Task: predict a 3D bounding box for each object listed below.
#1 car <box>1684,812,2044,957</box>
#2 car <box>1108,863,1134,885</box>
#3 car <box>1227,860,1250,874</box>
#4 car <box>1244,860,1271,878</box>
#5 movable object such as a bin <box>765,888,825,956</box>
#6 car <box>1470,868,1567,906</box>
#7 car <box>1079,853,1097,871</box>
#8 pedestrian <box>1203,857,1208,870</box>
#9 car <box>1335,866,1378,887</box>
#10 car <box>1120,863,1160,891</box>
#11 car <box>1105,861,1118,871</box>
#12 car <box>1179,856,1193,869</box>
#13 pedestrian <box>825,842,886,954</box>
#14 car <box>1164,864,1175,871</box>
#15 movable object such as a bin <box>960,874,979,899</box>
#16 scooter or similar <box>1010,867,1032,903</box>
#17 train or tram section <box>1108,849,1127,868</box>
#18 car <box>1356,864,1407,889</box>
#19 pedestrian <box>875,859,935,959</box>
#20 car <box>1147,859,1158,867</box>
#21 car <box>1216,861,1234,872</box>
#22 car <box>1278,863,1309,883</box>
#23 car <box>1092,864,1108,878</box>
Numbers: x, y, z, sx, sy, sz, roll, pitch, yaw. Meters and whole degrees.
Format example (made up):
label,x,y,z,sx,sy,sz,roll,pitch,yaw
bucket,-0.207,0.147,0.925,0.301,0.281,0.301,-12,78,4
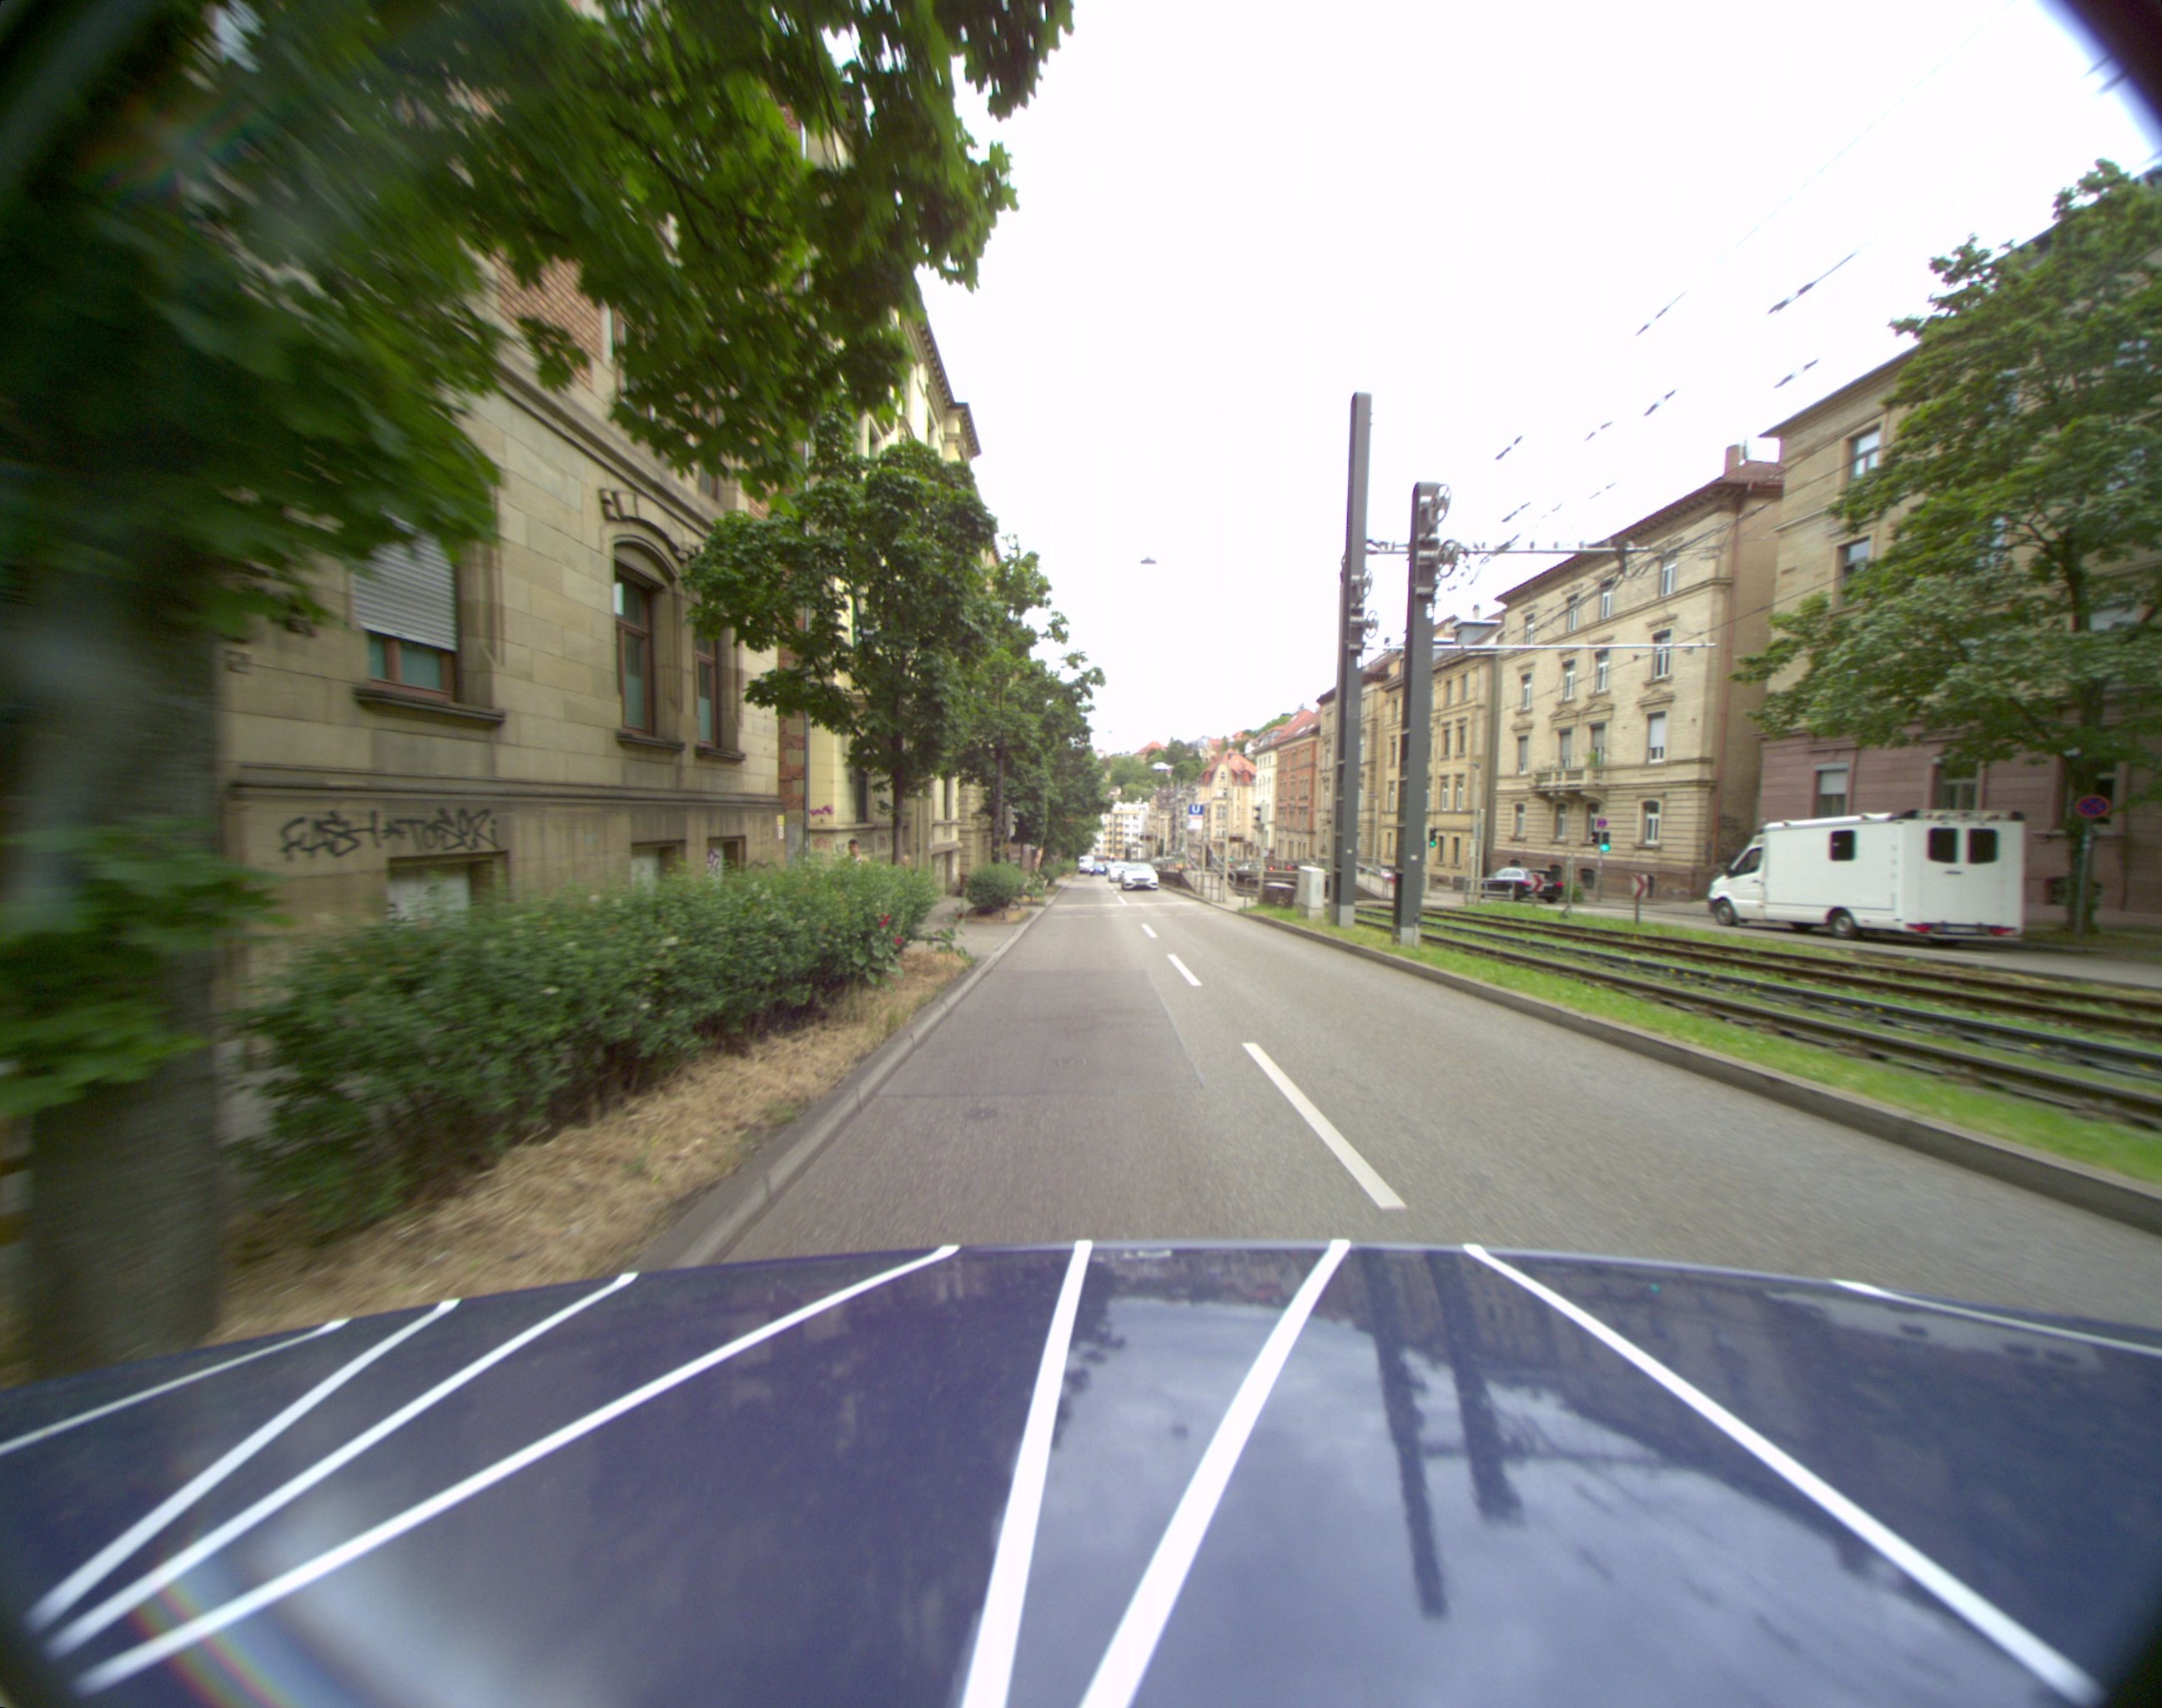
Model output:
label,x,y,z,sx,sy,sz,roll,pitch,yaw
car,17.561,0.600,17.823,2.396,2.683,6.523,2,0,9
car,2.984,1.487,57.602,1.806,1.541,4.001,0,-1,0
car,19.215,1.589,92.646,1.940,1.669,4.000,1,-1,1
car,17.279,1.431,74.462,1.713,1.725,4.577,1,0,1
movable object such as a bin,-4.469,1.055,11.902,0.672,1.009,0.582,2,-2,-1
car,18.894,1.367,33.076,1.752,1.420,4.750,2,0,4
car,0.920,1.114,101.546,2.263,2.274,5.968,-1,-1,0
pedestrian,15.382,1.178,93.784,0.463,1.553,0.540,0,0,0
car,20.061,1.607,55.523,1.682,1.439,4.219,1,0,2
car,3.103,1.203,40.760,1.806,1.391,4.000,0,-1,0
car,4.080,1.648,103.018,1.562,1.330,4.000,1,-1,0
car,20.218,1.640,146.083,1.998,2.291,5.455,1,0,1
pedestrian,-3.921,0.731,13.275,0.687,1.819,1.121,2,3,1
car,18.978,2.887,163.671,1.867,1.636,4.415,1,0,-1
movable object such as a bin,-4.273,1.256,29.189,0.613,0.914,0.493,2,0,3
scooter or similar,-2.291,1.169,29.244,0.663,1.296,1.383,2,0,1
train or tram section,7.155,0.984,150.878,2.968,3.455,14.409,1,-1,-1
car,17.098,1.253,43.407,1.580,1.369,3.656,1,0,2
pedestrian,-2.981,0.899,12.968,0.687,1.565,1.216,2,2,1
car,16.819,2.204,178.820,1.999,1.883,4.415,1,0,-1
car,20.293,1.727,107.178,1.883,1.519,4.001,1,-1,1
car,20.265,1.767,72.656,1.853,1.849,4.139,1,0,1
car,2.021,1.805,82.965,1.694,1.466,3.857,0,0,1
